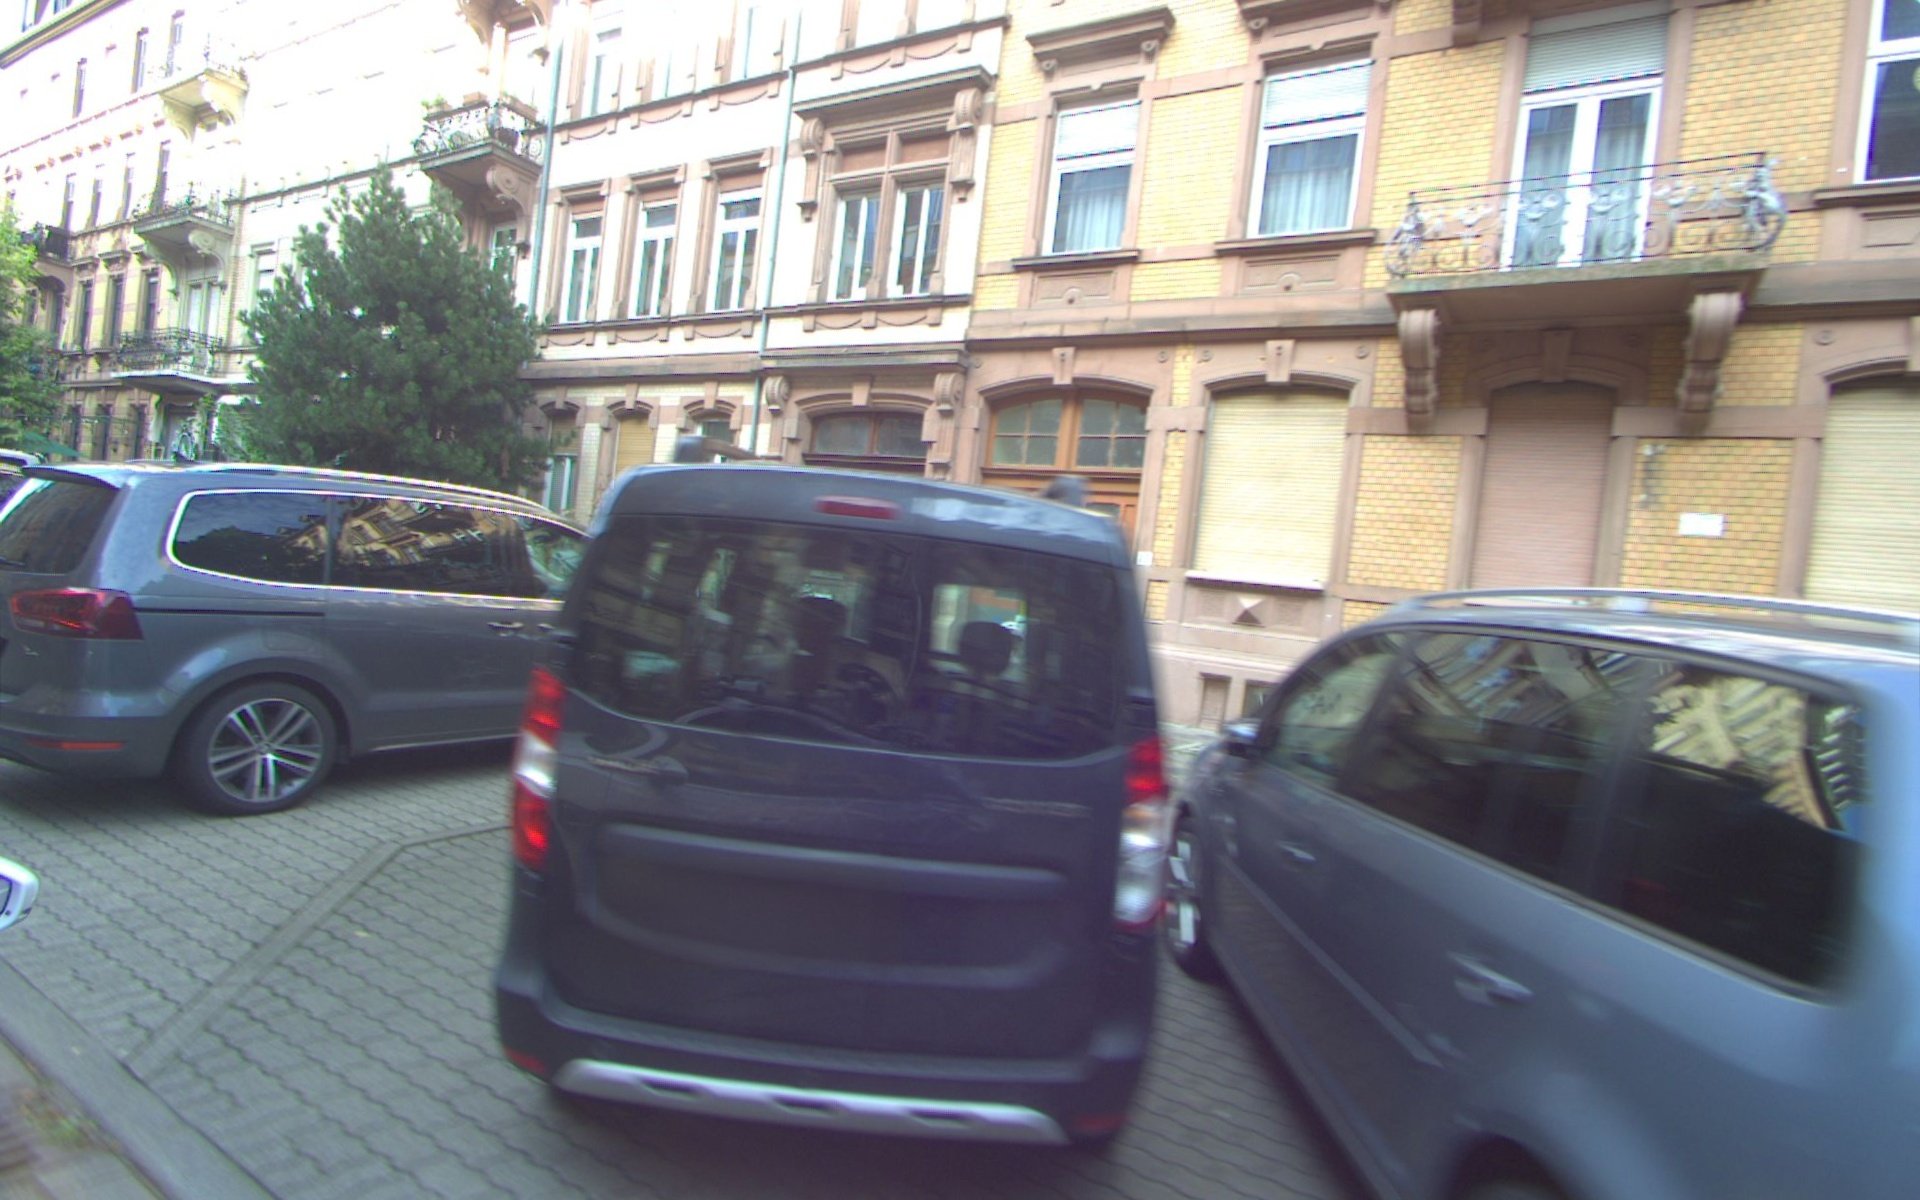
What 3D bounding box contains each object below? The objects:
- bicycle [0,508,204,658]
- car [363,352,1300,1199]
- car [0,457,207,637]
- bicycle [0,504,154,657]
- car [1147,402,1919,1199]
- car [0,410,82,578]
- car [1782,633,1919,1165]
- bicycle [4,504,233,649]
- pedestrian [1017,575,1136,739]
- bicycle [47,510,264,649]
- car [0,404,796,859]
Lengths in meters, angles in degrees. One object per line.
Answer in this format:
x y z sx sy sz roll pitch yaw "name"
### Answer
-8.210 -0.166 9.443 1.833 1.197 0.405 7 2 0 "bicycle"
-0.260 0.471 4.202 1.722 1.847 4.400 6 2 0 "car"
-10.305 -0.634 10.195 1.964 1.753 4.456 8 -1 -3 "car"
-8.268 -0.212 8.893 1.882 1.197 0.405 7 2 0 "bicycle"
1.833 0.755 2.730 1.805 1.763 3.998 6 1 1 "car"
-14.938 -1.638 13.378 1.883 2.436 5.156 6 1 -1 "car"
3.983 1.078 1.517 1.836 1.569 3.993 6 2 -5 "car"
-8.254 -0.226 9.893 1.833 1.197 0.405 7 2 0 "bicycle"
1.208 0.564 10.320 0.798 1.516 0.929 7 2 25 "pedestrian"
-8.256 -0.207 10.347 1.833 1.197 0.405 7 2 0 "bicycle"
-3.326 0.069 6.406 1.779 1.809 4.637 9 4 30 "car"
